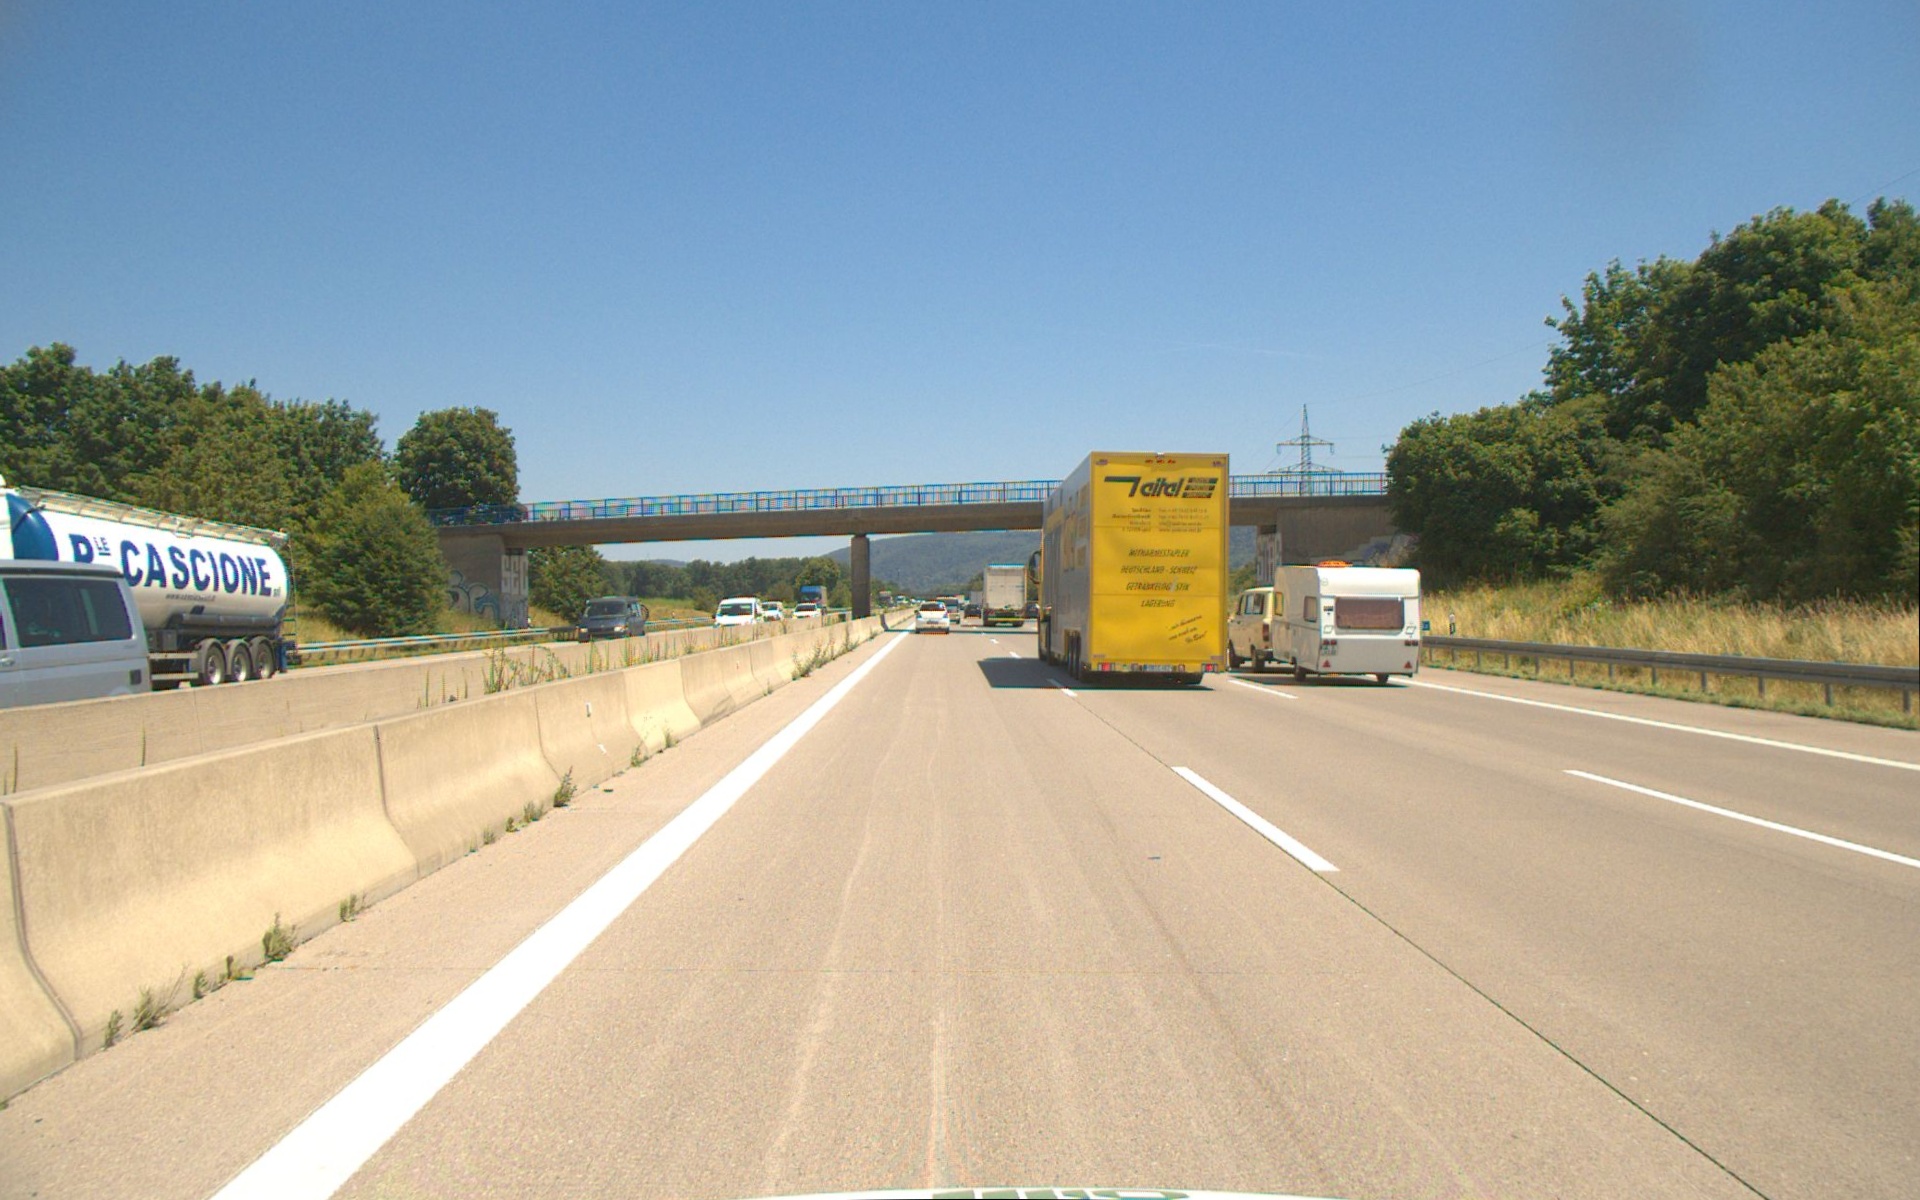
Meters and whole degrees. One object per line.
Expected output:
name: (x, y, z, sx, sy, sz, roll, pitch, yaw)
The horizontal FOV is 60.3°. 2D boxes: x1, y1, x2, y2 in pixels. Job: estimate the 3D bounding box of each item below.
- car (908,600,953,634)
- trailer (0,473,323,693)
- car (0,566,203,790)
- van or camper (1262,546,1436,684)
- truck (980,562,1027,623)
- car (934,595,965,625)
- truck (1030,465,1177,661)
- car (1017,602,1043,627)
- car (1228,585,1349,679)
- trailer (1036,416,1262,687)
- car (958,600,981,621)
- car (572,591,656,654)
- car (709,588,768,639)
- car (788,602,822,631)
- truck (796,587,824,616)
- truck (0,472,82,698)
car: (-1.418, 0.797, 81.000, 2.064, 1.563, 4.122, 1, 0, 0)
trailer: (-16.865, -0.333, 34.259, 2.521, 3.694, 12.853, 1, 0, -1)
car: (-8.583, 0.651, 14.078, 1.953, 1.765, 5.113, -2, 0, -1)
van or camper: (7.821, 0.269, 33.867, 2.179, 2.575, 5.429, 1, 0, -1)
truck: (2.792, -0.488, 107.956, 2.763, 3.827, 6.282, 1, 0, -1)
car: (-0.743, 0.715, 119.206, 2.208, 2.049, 4.297, 1, 0, 0)
truck: (3.554, -0.903, 42.493, 3.150, 4.643, 5.835, 1, 0, -1)
car: (6.030, 1.240, 142.155, 1.953, 2.049, 3.999, 1, 0, -1)
car: (7.590, 0.694, 38.609, 1.953, 2.049, 3.999, 1, 0, -1)
trailer: (3.594, -0.872, 35.494, 3.150, 4.643, 13.455, 1, 0, 0)
car: (0.906, 1.025, 164.406, 2.177, 2.049, 3.999, 1, 0, -1)
car: (-12.932, 0.780, 62.155, 1.953, 2.175, 5.881, -2, 0, -1)
car: (-9.280, 0.538, 69.516, 1.828, 2.015, 4.788, -2, 0, -1)
car: (-10.275, 1.087, 109.981, 1.828, 1.871, 4.788, -1, 0, -1)
truck: (-19.332, 0.223, 213.682, 2.925, 3.622, 7.491, 1, 0, -1)
truck: (-16.758, -0.262, 26.797, 2.549, 3.651, 4.718, 1, 0, -1)
